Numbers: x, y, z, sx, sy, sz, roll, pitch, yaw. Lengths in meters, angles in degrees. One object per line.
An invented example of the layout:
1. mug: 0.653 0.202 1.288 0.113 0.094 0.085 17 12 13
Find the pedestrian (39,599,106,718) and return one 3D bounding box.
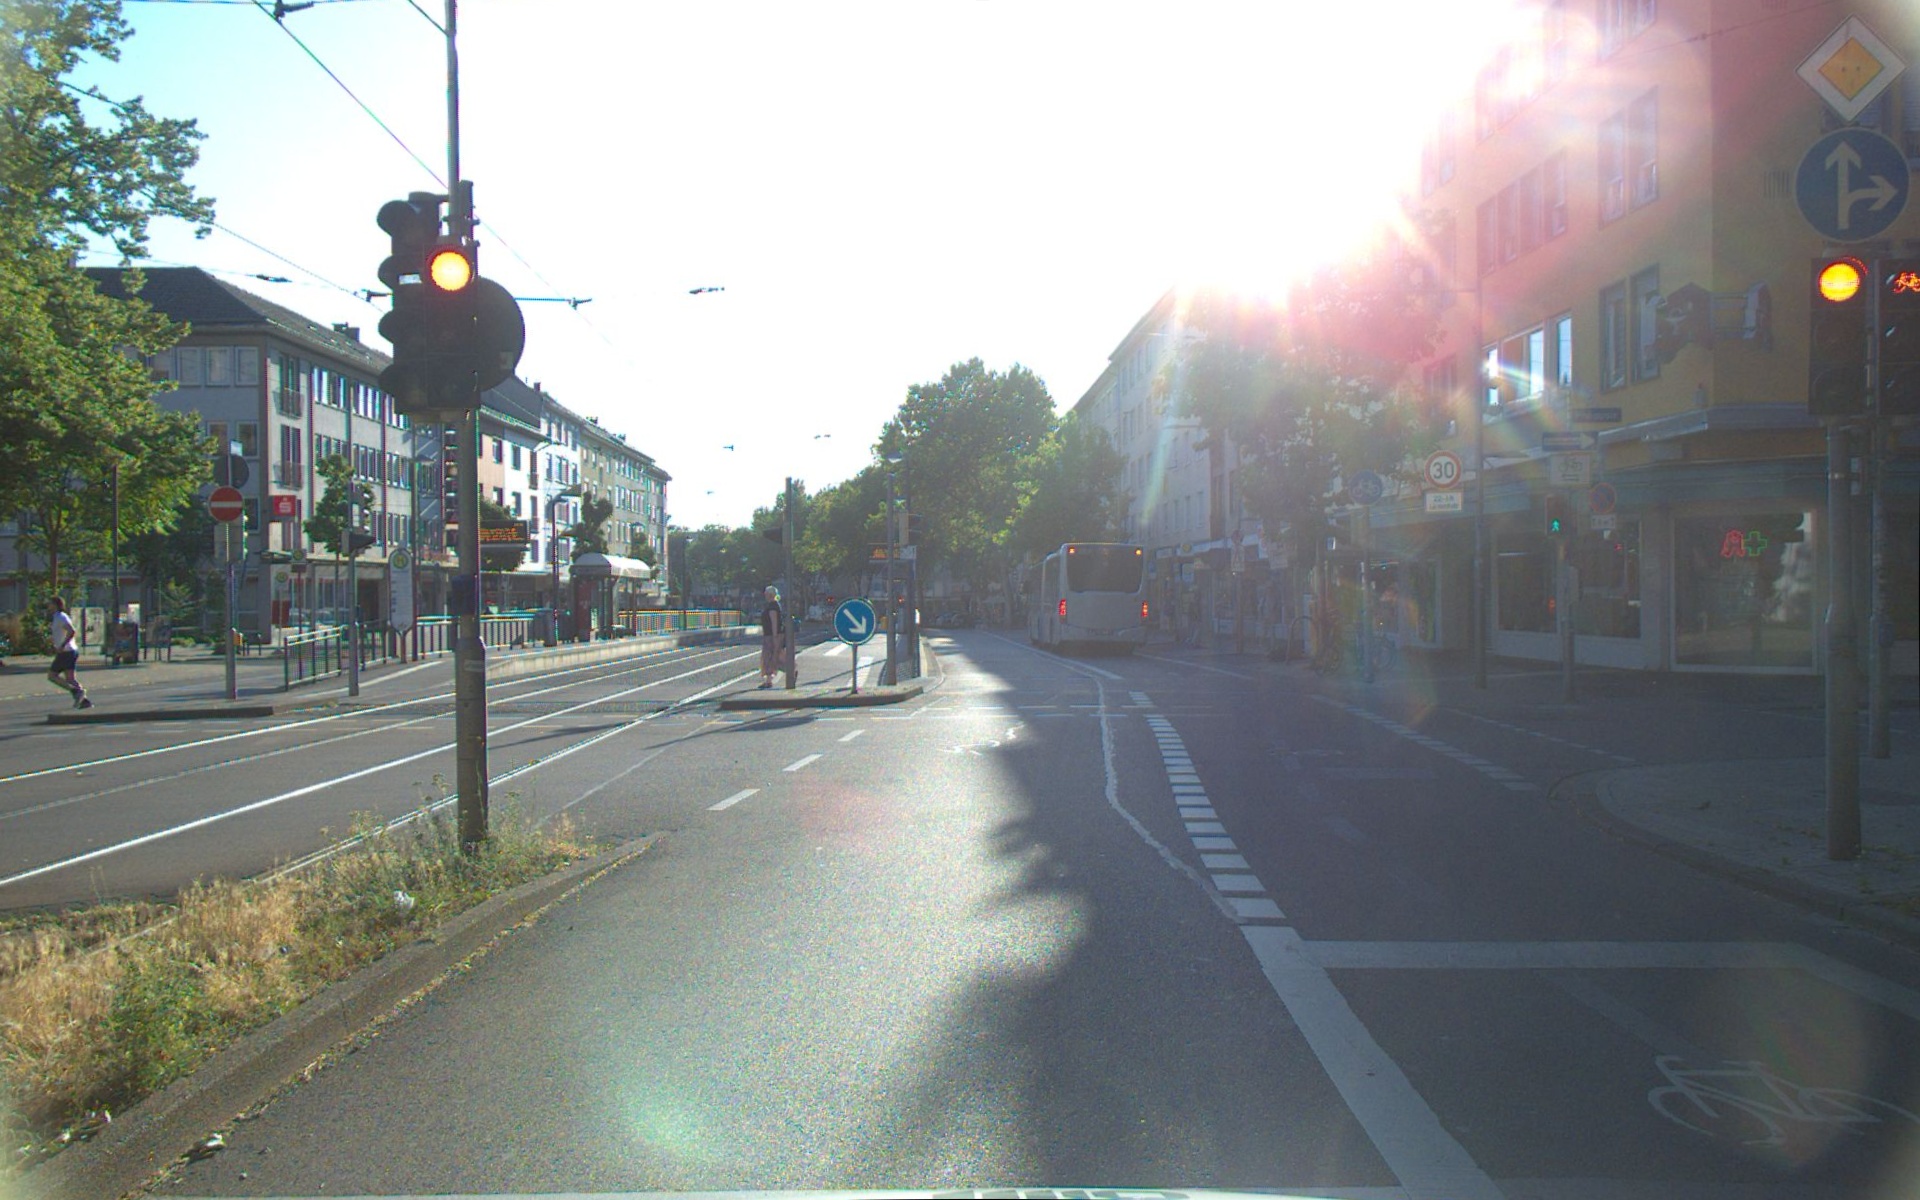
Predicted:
1. pedestrian: -13.708 0.886 25.563 0.666 1.801 0.686 -1 0 -4

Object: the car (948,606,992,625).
1. car: 0.915 1.499 158.704 3.848 1.729 1.815 -1 0 -30

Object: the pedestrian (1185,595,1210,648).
1. pedestrian: 7.443 0.673 51.946 0.662 1.656 0.655 1 0 0

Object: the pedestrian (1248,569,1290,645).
1. pedestrian: 8.532 0.199 45.720 0.934 2.049 0.917 1 0 -3

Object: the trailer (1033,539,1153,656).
1. trailer: 3.870 -0.060 50.056 2.755 3.165 8.792 1 0 -1

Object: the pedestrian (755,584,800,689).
1. pedestrian: -3.202 0.637 29.024 0.666 1.801 0.687 -2 0 0

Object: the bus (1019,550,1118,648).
1. bus: 3.733 -0.033 58.992 2.755 3.156 9.092 1 0 -1

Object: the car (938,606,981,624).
1. car: -0.055 1.465 161.282 3.848 1.729 1.815 -1 0 -30

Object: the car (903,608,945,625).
1. car: -3.600 1.621 166.301 3.848 1.624 1.674 -1 0 -30

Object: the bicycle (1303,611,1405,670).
1. bicycle: 7.468 0.757 31.419 1.737 1.039 0.694 -2 0 -2
